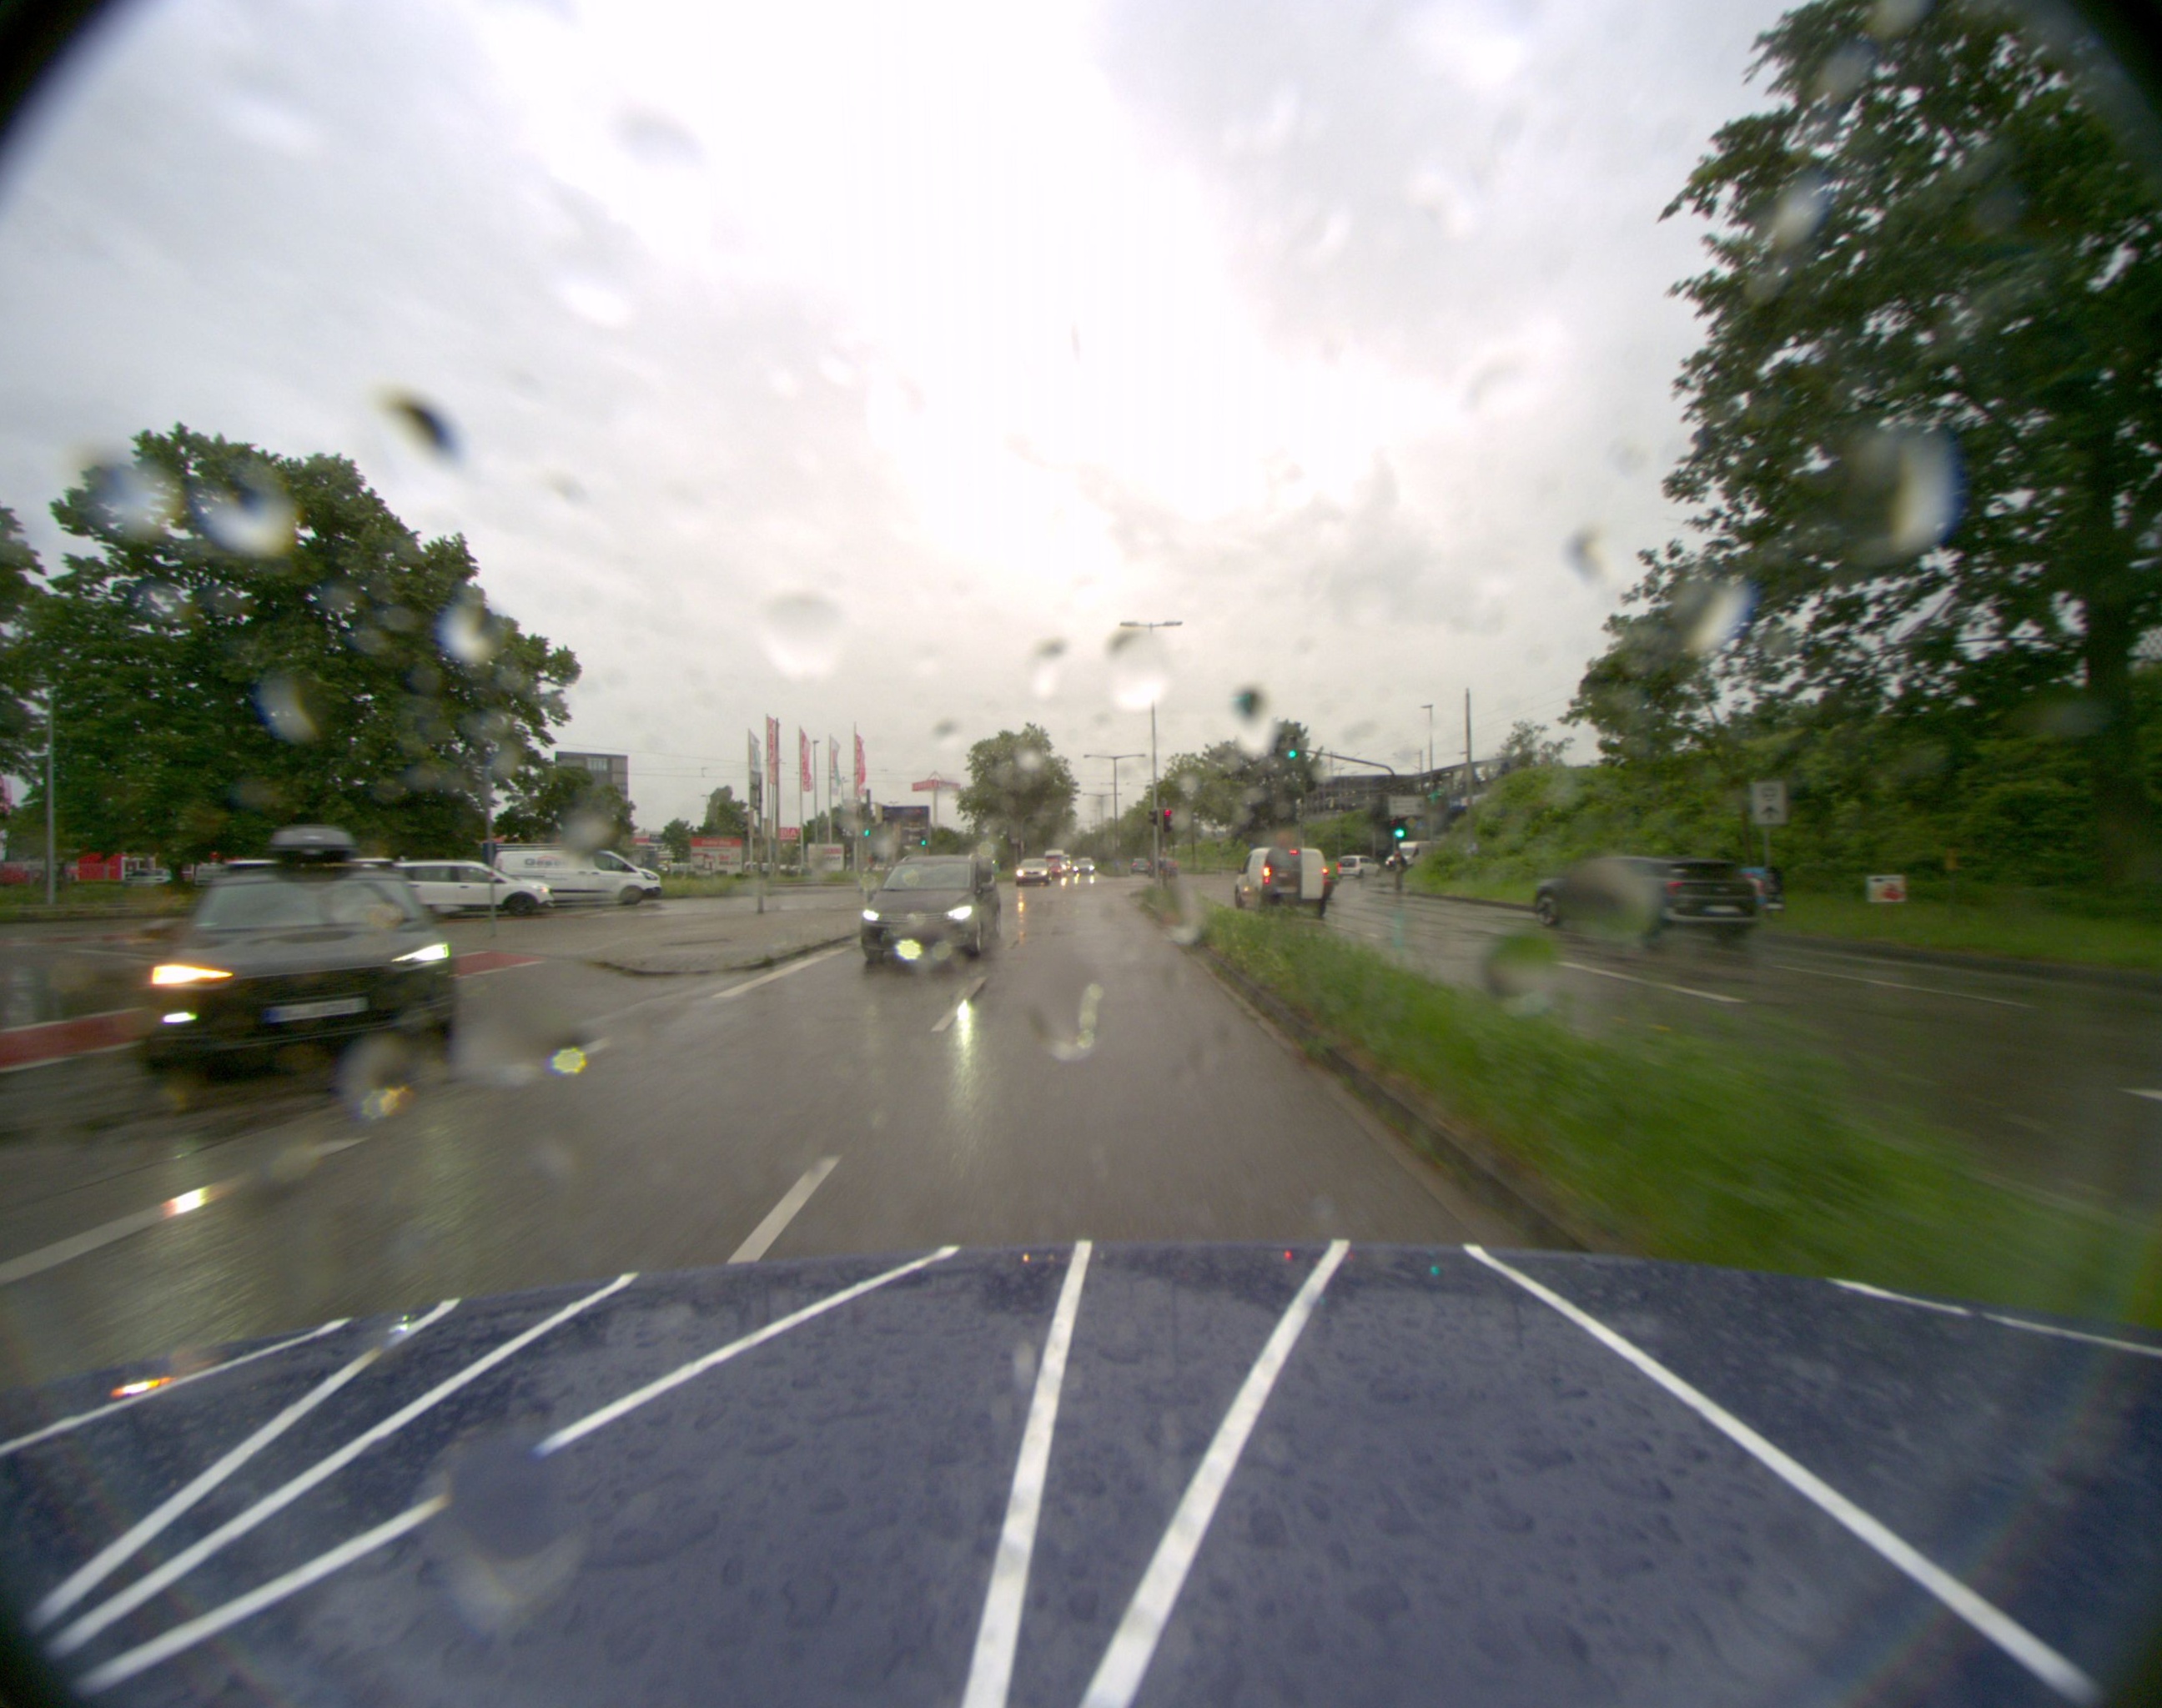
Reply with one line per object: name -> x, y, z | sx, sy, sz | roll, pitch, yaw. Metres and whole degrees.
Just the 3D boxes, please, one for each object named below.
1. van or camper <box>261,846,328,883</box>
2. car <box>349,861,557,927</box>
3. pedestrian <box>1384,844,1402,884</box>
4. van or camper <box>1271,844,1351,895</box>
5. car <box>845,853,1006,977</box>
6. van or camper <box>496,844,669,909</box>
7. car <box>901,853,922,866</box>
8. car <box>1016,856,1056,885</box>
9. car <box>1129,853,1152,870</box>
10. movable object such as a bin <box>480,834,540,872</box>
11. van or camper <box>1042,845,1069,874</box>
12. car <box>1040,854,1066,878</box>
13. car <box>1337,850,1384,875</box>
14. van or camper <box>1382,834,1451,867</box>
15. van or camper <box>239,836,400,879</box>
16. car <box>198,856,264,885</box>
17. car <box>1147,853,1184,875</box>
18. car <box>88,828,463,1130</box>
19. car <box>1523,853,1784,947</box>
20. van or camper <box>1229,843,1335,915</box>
van or camper -> -50.759, 0.650, 49.154 | 2.138, 2.286, 4.455 | -1, 1, -35
car -> -17.989, 1.061, 22.026 | 4.470, 1.663, 1.863 | -1, 1, -38
pedestrian -> 14.001, 0.457, 34.092 | 0.485, 1.777, 0.626 | -1, 1, -8
van or camper -> 8.603, 0.532, 28.745 | 1.705, 1.774, 4.220 | 1, 0, -1
car -> -2.457, 0.879, 13.097 | 1.861, 1.716, 4.190 | -2, 0, 0
van or camper -> -17.351, 0.706, 26.574 | 4.917, 2.076, 1.863 | -1, 1, -38
car -> -21.967, 0.693, 98.506 | 1.822, 1.610, 3.999 | -1, 1, -2
car -> -2.375, 0.844, 41.162 | 1.807, 1.422, 4.386 | -1, 0, 1
car -> 5.748, 0.704, 74.070 | 1.697, 1.592, 3.622 | 0, 0, -5
movable object such as a bin -> -52.834, -0.108, 70.393 | 4.260, 3.266, 2.321 | -3, 2, -37
van or camper -> -2.369, 0.525, 71.296 | 2.100, 2.579, 4.776 | -2, 0, 1
car -> -2.154, 0.894, 58.846 | 1.699, 1.759, 4.558 | -1, 0, 1
car -> 18.543, 0.513, 50.340 | 1.649, 1.592, 3.574 | 0, 1, 43
van or camper -> 28.386, -0.338, 64.139 | 6.941, 2.647, 1.995 | -1, 1, -35
van or camper -> -63.511, 0.187, 63.796 | 8.994, 3.139, 2.979 | -3, 2, -35
car -> -53.530, 1.006, 47.923 | 1.870, 1.718, 3.957 | -1, 1, -35
car -> 6.436, 0.710, 58.507 | 1.977, 1.592, 4.385 | 0, 0, -6
car -> -7.675, 0.840, 7.476 | 4.742, 2.044, 1.936 | 0, 1, 45
car -> 11.169, 0.792, 15.321 | 1.903, 1.604, 4.405 | 0, 0, 0
van or camper -> 5.277, 0.603, 20.504 | 1.733, 1.732, 3.999 | 1, 0, -1
